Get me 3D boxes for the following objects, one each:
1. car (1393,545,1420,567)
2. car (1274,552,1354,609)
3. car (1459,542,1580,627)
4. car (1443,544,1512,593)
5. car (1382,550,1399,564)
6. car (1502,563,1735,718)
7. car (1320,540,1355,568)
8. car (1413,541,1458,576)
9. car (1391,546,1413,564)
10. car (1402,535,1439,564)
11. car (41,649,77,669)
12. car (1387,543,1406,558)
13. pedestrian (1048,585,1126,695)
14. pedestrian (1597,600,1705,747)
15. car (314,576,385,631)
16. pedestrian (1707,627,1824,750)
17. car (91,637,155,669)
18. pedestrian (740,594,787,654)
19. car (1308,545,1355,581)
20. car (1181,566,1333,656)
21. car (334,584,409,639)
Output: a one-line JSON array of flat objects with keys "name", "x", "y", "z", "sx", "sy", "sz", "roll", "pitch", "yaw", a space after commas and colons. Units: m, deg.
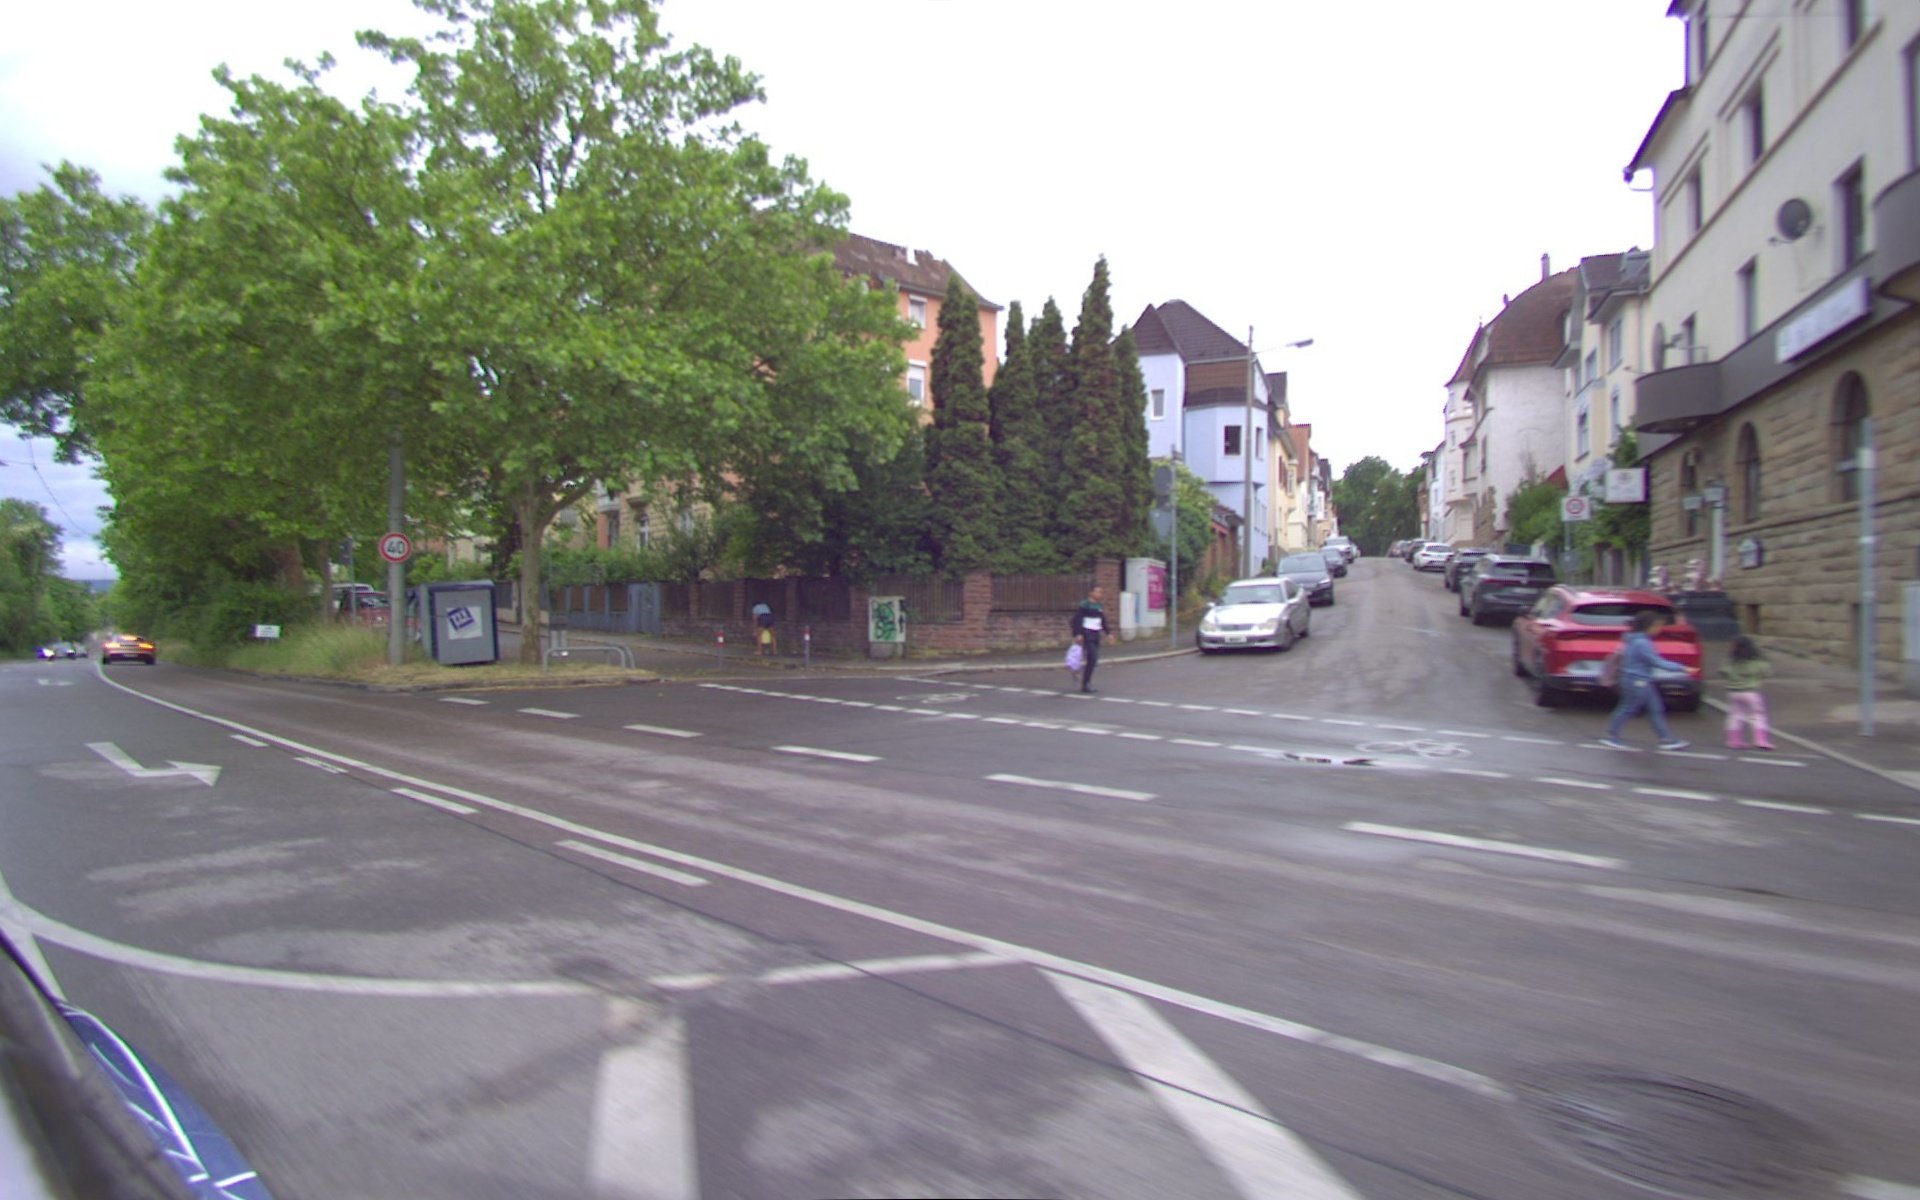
[{"name": "car", "x": 36.290, "y": -3.607, "z": 82.245, "sx": 1.875, "sy": 1.395, "sz": 4.236, "roll": -3, "pitch": 4, "yaw": 23}, {"name": "car", "x": 11.271, "y": -0.658, "z": 32.087, "sx": 1.877, "sy": 1.395, "sz": 4.231, "roll": -3, "pitch": 4, "yaw": 26}, {"name": "car", "x": 13.396, "y": -0.443, "z": 24.505, "sx": 2.065, "sy": 1.585, "sz": 4.512, "roll": -3, "pitch": 4, "yaw": 24}, {"name": "car", "x": 18.691, "y": -1.176, "z": 36.723, "sx": 1.875, "sy": 1.395, "sz": 4.236, "roll": -3, "pitch": 4, "yaw": 23}, {"name": "car", "x": 54.703, "y": -5.460, "z": 128.601, "sx": 1.875, "sy": 1.395, "sz": 4.236, "roll": -3, "pitch": 4, "yaw": 23}, {"name": "car", "x": 8.922, "y": 0.436, "z": 14.142, "sx": 1.925, "sy": 1.585, "sz": 4.511, "roll": -3, "pitch": 3, "yaw": 24}, {"name": "car", "x": 23.979, "y": -2.940, "z": 64.212, "sx": 1.875, "sy": 1.395, "sz": 4.236, "roll": -3, "pitch": 4, "yaw": 23}, {"name": "car", "x": 24.198, "y": -2.133, "z": 51.592, "sx": 1.875, "sy": 1.395, "sz": 4.236, "roll": -3, "pitch": 4, "yaw": 23}, {"name": "car", "x": 42.722, "y": -4.366, "z": 97.865, "sx": 1.875, "sy": 1.395, "sz": 4.236, "roll": -3, "pitch": 4, "yaw": 23}, {"name": "car", "x": 27.988, "y": -3.108, "z": 61.626, "sx": 1.875, "sy": 1.395, "sz": 4.236, "roll": -3, "pitch": 4, "yaw": 23}, {"name": "car", "x": -72.025, "y": 4.738, "z": 80.885, "sx": 1.970, "sy": 1.453, "sz": 4.003, "roll": -2, "pitch": -1, "yaw": -43}, {"name": "car", "x": 48.893, "y": -5.552, "z": 113.377, "sx": 1.875, "sy": 1.395, "sz": 4.236, "roll": -3, "pitch": 4, "yaw": 23}, {"name": "pedestrian", "x": 1.994, "y": 0.619, "z": 15.854, "sx": 0.988, "sy": 1.642, "sz": 0.884, "roll": -3, "pitch": -1, "yaw": 20}, {"name": "pedestrian", "x": 7.067, "y": 0.731, "z": 10.350, "sx": 0.806, "sy": 1.412, "sz": 0.772, "roll": -3, "pitch": -1, "yaw": 38}, {"name": "car", "x": -25.329, "y": 0.175, "z": 41.929, "sx": 1.968, "sy": 2.029, "sz": 4.637, "roll": -2, "pitch": -1, "yaw": -37}, {"name": "pedestrian", "x": 8.043, "y": 0.860, "z": 10.114, "sx": 0.732, "sy": 1.132, "sz": 0.733, "roll": -2, "pitch": -1, "yaw": -40}, {"name": "car", "x": -40.002, "y": 2.539, "z": 48.330, "sx": 2.046, "sy": 1.363, "sz": 4.718, "roll": -2, "pitch": -1, "yaw": -43}, {"name": "pedestrian", "x": -4.644, "y": 0.564, "z": 23.931, "sx": 0.780, "sy": 1.365, "sz": 0.792, "roll": -2, "pitch": -1, "yaw": -38}, {"name": "car", "x": 17.971, "y": -1.815, "z": 48.833, "sx": 1.875, "sy": 1.395, "sz": 4.236, "roll": -3, "pitch": 4, "yaw": 23}, {"name": "car", "x": 6.341, "y": 0.176, "z": 21.273, "sx": 1.882, "sy": 1.395, "sz": 4.221, "roll": -2, "pitch": 4, "yaw": 33}, {"name": "car", "x": -21.913, "y": 0.453, "z": 37.622, "sx": 1.807, "sy": 1.857, "sz": 4.637, "roll": -2, "pitch": -1, "yaw": -37}]
